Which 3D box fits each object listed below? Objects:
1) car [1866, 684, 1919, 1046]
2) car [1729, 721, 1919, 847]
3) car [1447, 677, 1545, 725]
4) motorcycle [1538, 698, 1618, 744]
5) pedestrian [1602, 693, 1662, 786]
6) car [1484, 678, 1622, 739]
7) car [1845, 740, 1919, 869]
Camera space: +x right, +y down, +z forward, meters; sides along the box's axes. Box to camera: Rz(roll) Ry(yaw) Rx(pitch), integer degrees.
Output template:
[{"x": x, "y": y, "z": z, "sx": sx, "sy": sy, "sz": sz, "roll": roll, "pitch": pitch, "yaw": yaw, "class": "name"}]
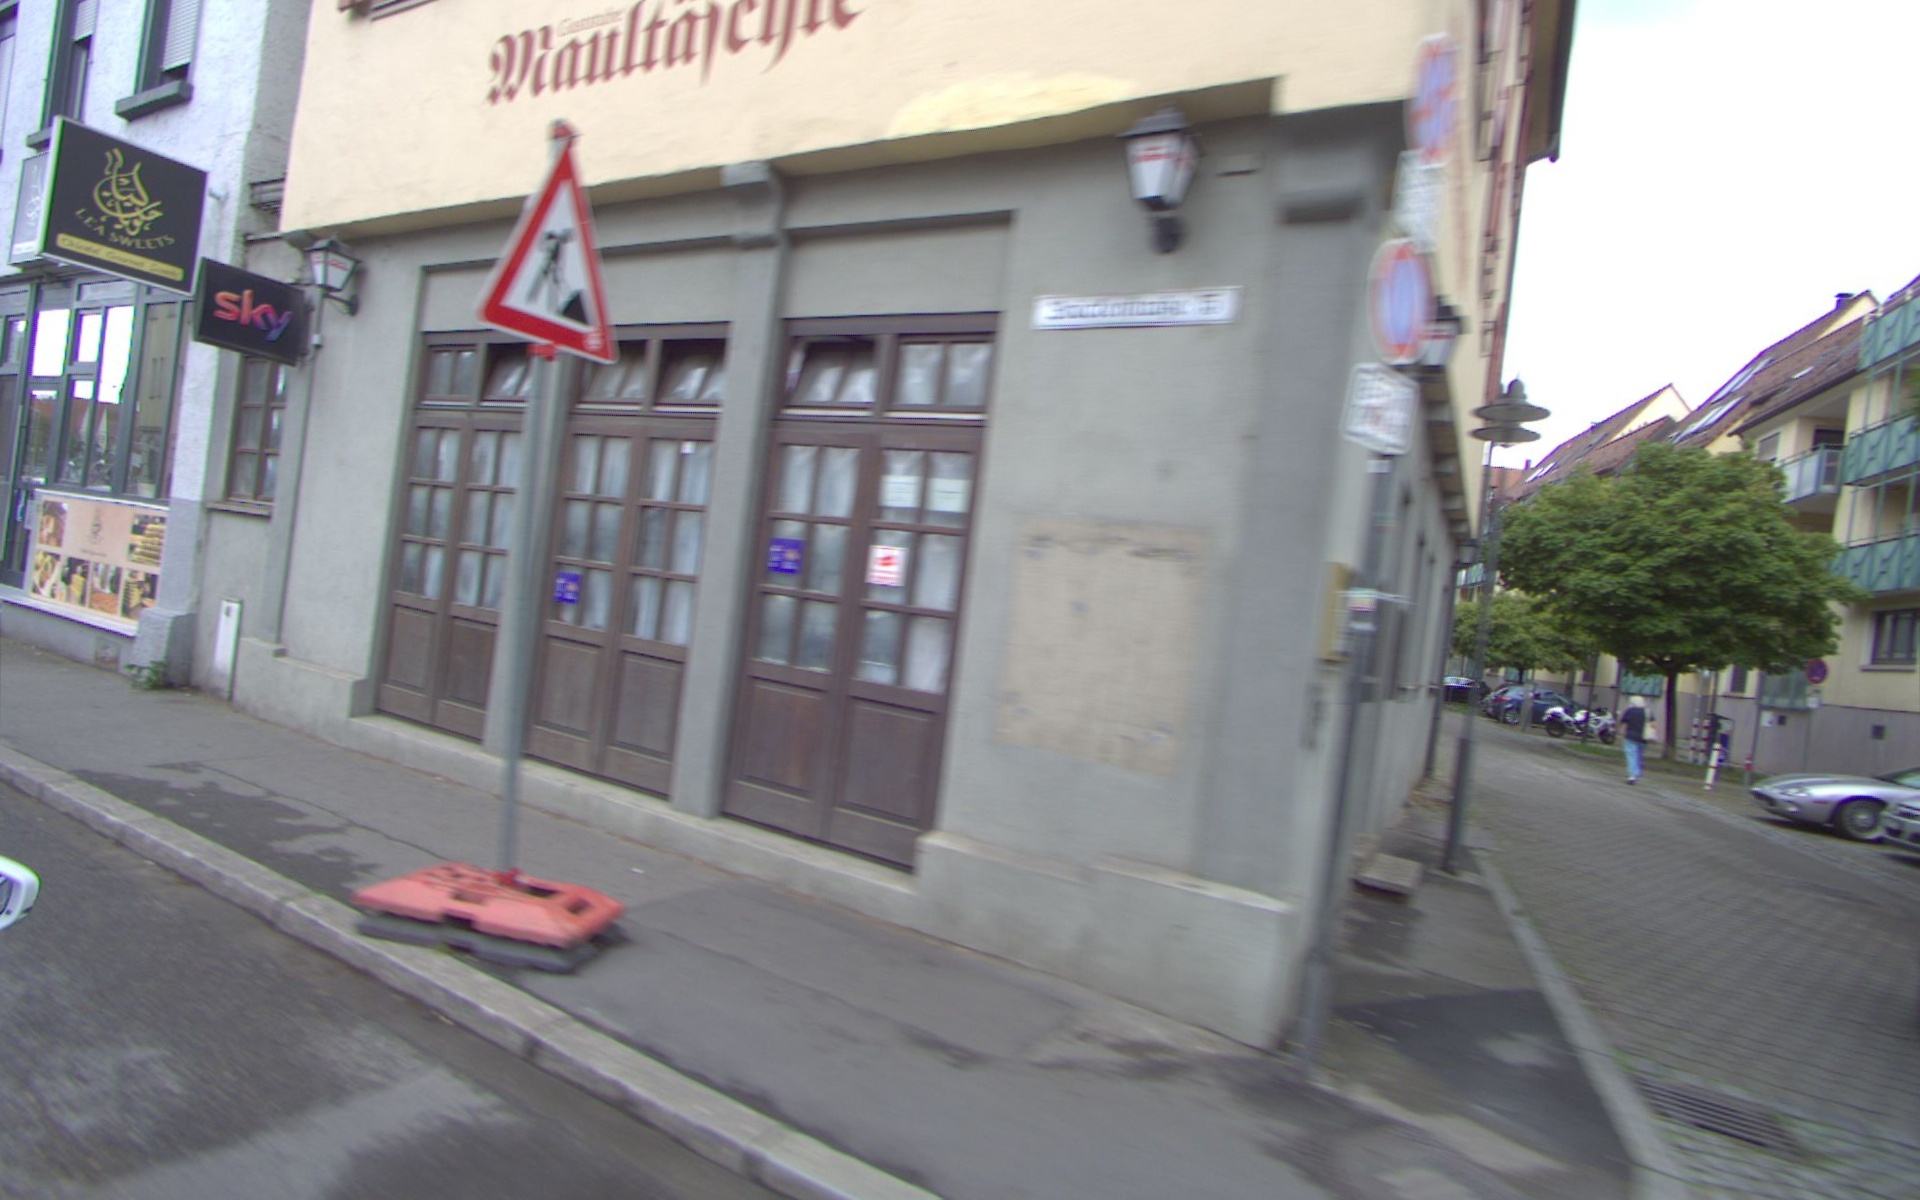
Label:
[{"x": 5.043, "y": 1.291, "z": 3.333, "sx": 1.966, "sy": 1.808, "sz": 4.461, "roll": 6, "pitch": -1, "yaw": 30, "class": "car"}, {"x": 14.087, "y": 2.833, "z": 14.795, "sx": 3.928, "sy": 1.421, "sz": 1.999, "roll": 7, "pitch": 0, "yaw": 25, "class": "car"}, {"x": 26.849, "y": 5.045, "z": 50.517, "sx": 3.925, "sy": 1.786, "sz": 2.002, "roll": 7, "pitch": -2, "yaw": 19, "class": "car"}, {"x": 19.857, "y": 3.879, "z": 32.364, "sx": 2.011, "sy": 1.144, "sz": 0.770, "roll": 7, "pitch": 0, "yaw": 25, "class": "motorcycle"}, {"x": 12.692, "y": 2.618, "z": 19.022, "sx": 0.686, "sy": 1.631, "sz": 0.720, "roll": 7, "pitch": 0, "yaw": 27, "class": "pedestrian"}, {"x": 21.975, "y": 4.001, "z": 37.441, "sx": 3.925, "sy": 1.640, "sz": 2.002, "roll": 7, "pitch": -2, "yaw": 19, "class": "car"}, {"x": 13.546, "y": 2.769, "z": 12.048, "sx": 3.928, "sy": 1.421, "sz": 1.819, "roll": 7, "pitch": 0, "yaw": 25, "class": "car"}]
